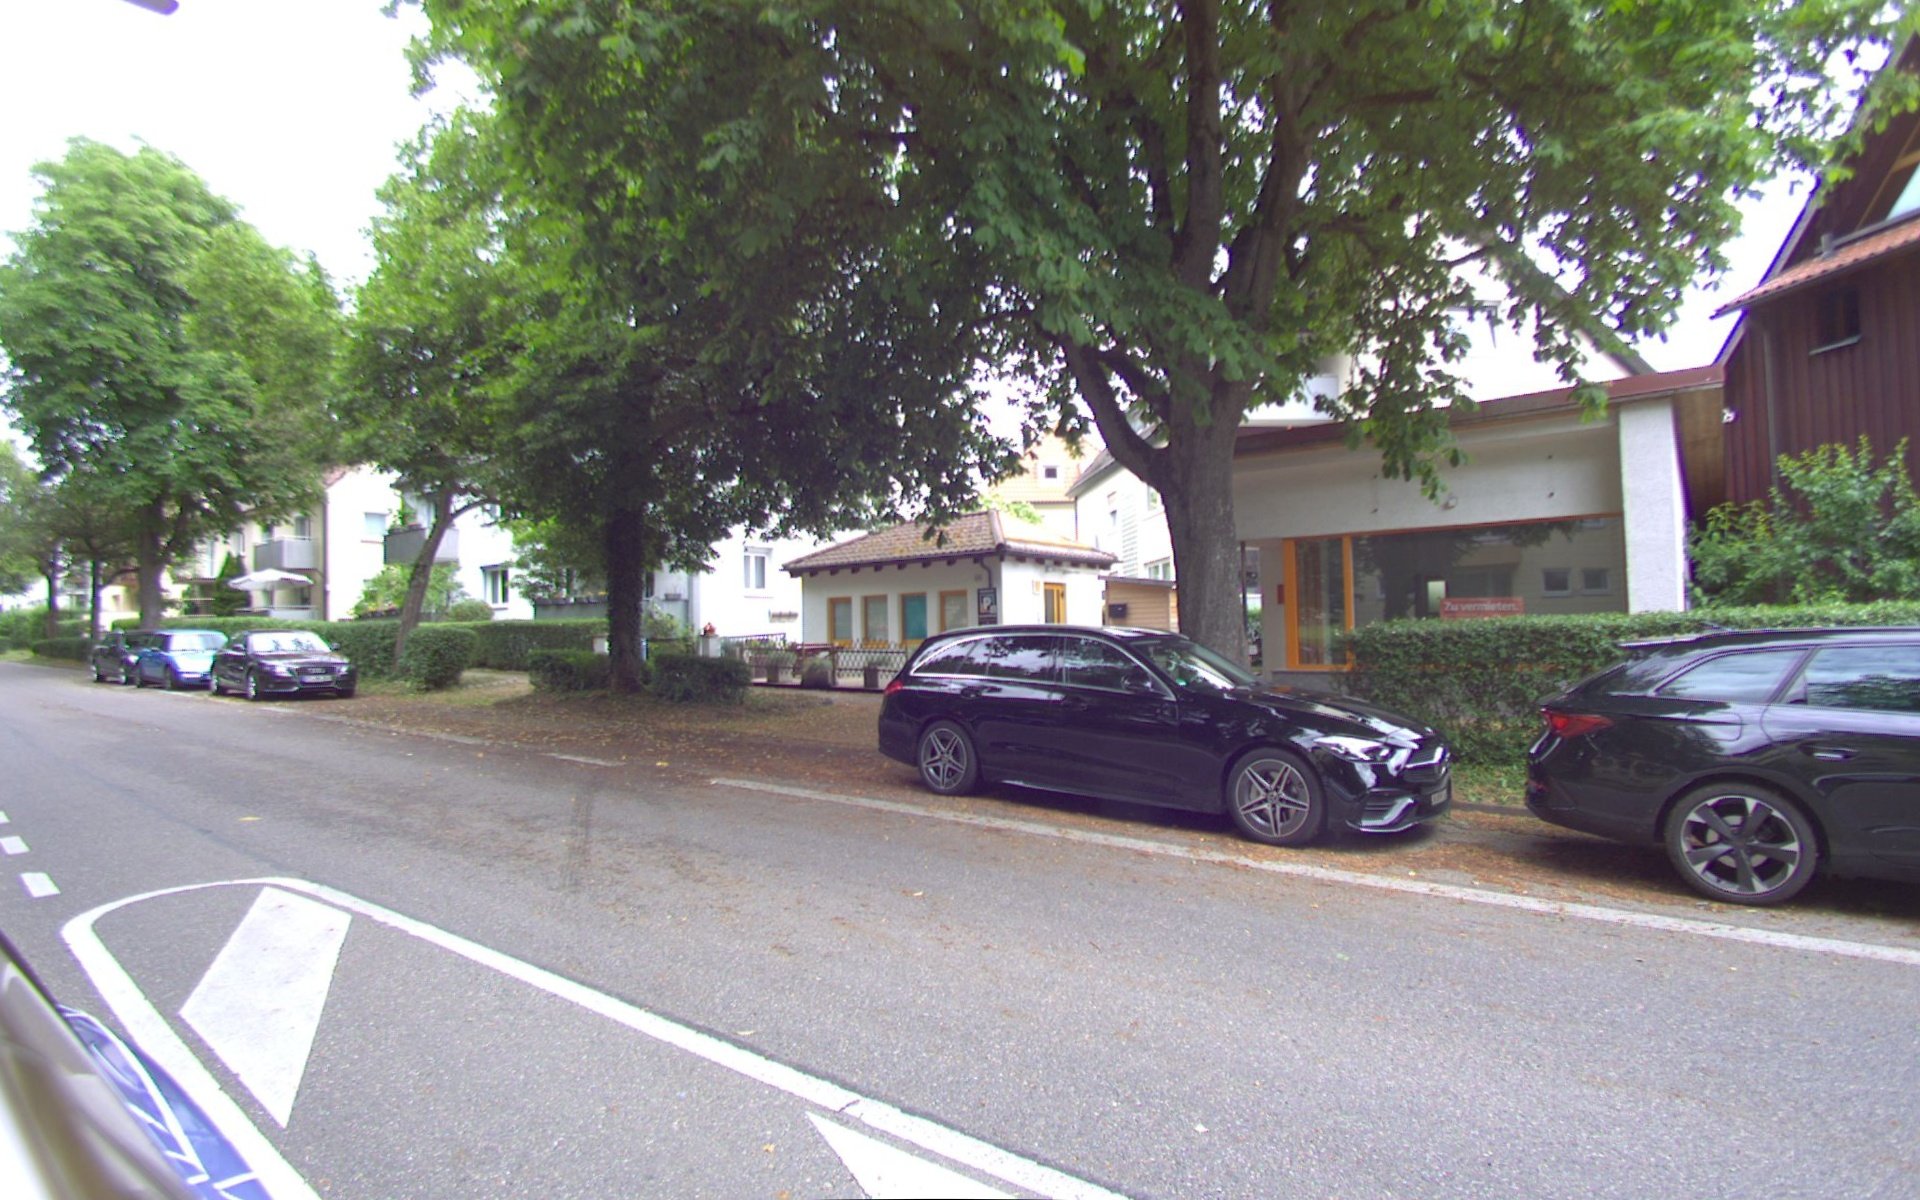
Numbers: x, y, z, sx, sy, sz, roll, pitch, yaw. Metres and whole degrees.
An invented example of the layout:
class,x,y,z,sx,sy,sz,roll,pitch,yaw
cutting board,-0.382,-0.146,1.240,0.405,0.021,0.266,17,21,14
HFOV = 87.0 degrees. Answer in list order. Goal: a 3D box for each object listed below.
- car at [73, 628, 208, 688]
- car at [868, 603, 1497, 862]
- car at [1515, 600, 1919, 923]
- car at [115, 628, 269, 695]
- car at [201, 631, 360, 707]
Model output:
class,x,y,z,sx,sy,sz,roll,pitch,yaw
car,-22.603,1.561,27.857,4.558,1.545,1.866,-2,-3,37
car,1.556,0.864,8.203,4.612,1.511,1.973,-2,-3,41
car,5.451,0.755,4.991,4.536,1.497,1.674,-2,-3,38
car,-18.915,1.462,24.864,4.558,1.512,1.866,-2,-3,37
car,-14.221,1.376,21.097,4.169,1.414,1.713,-2,-3,41
